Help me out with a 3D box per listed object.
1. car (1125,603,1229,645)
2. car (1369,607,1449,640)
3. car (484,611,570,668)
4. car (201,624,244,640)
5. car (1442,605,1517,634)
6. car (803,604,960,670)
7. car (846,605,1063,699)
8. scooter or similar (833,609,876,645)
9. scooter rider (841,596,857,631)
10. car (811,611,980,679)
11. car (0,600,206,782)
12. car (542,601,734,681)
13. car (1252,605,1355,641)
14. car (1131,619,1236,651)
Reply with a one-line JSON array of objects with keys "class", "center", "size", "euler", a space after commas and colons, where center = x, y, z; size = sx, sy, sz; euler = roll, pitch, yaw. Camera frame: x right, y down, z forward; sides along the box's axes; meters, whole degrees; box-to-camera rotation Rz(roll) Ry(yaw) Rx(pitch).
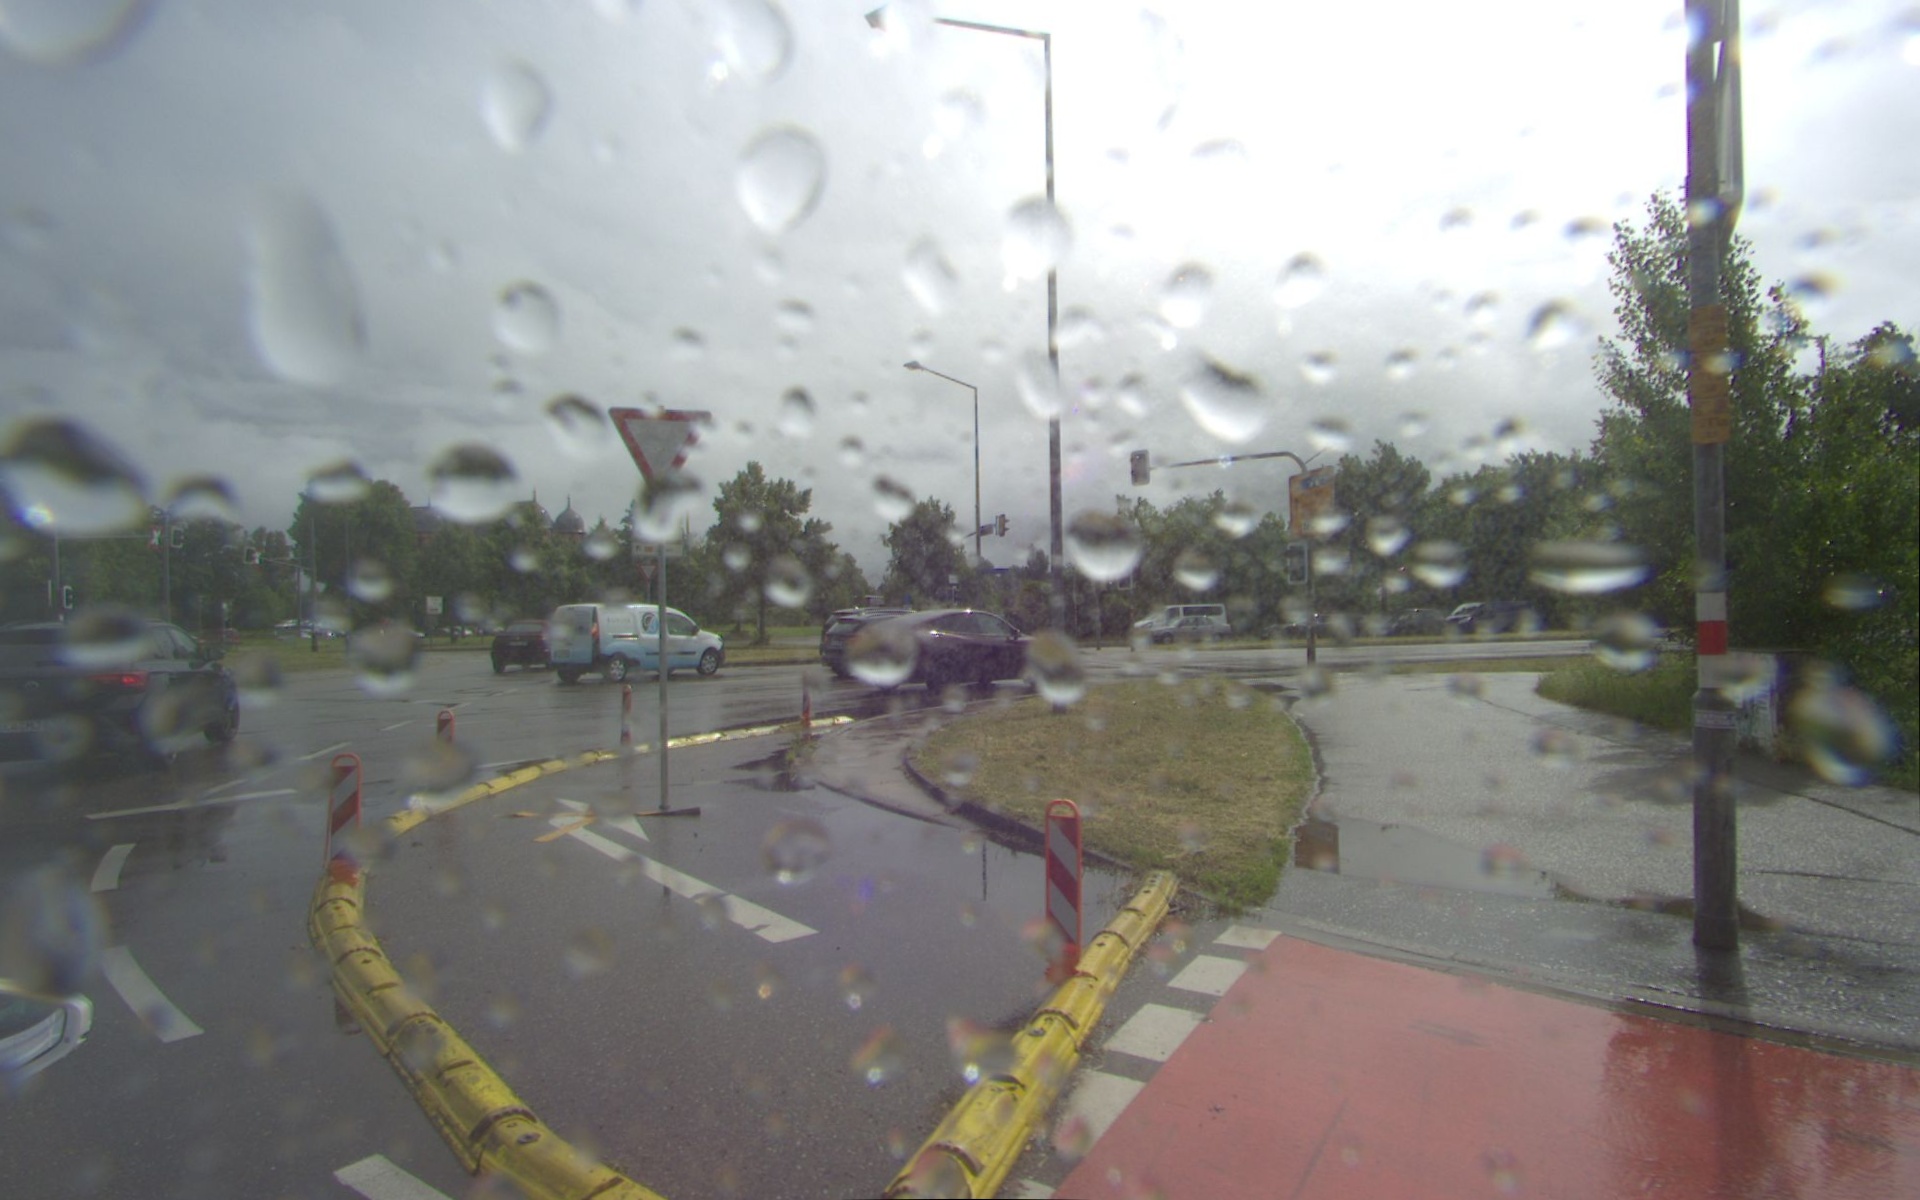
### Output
[{"class": "car", "center": [10.841, 1.160, 50.052], "size": [4.715, 2.014, 2.075], "euler": [0, 0, -17]}, {"class": "car", "center": [22.516, 1.163, 50.249], "size": [3.537, 1.602, 1.565], "euler": [0, 0, -16]}, {"class": "car", "center": [-12.556, 1.105, 29.256], "size": [1.689, 1.482, 3.994], "euler": [-1, 0, -15]}, {"class": "car", "center": [-72.972, 3.189, 99.017], "size": [3.585, 1.530, 1.647], "euler": [-1, 0, 18]}, {"class": "car", "center": [28.360, 1.044, 54.722], "size": [3.476, 1.530, 1.629], "euler": [-1, 0, -16]}, {"class": "car", "center": [-2.301, 1.039, 29.912], "size": [4.272, 1.781, 2.026], "euler": [-1, 1, -39]}, {"class": "car", "center": [-0.014, 0.969, 20.663], "size": [4.455, 1.679, 1.856], "euler": [-1, 1, -45]}, {"class": "scooter or similar", "center": [-6.239, 1.626, 59.010], "size": [1.223, 2.039, 3.391], "euler": [1, -3, -32]}, {"class": "scooter rider", "center": [-6.574, 0.809, 59.512], "size": [0.696, 2.039, 0.766], "euler": [1, -2, -32]}, {"class": "car", "center": [-1.585, 1.084, 25.340], "size": [3.954, 1.548, 1.796], "euler": [0, 0, -39]}, {"class": "car", "center": [-9.567, 0.836, 10.940], "size": [1.879, 1.639, 3.973], "euler": [-1, 1, -34]}, {"class": "car", "center": [-7.814, 0.937, 24.756], "size": [1.839, 1.786, 4.532], "euler": [0, 0, 29]}, {"class": "car", "center": [16.577, 1.098, 48.311], "size": [4.407, 1.556, 1.864], "euler": [-1, 0, -16]}, {"class": "car", "center": [10.407, 1.605, 46.664], "size": [4.470, 1.398, 1.864], "euler": [0, 0, -16]}]
